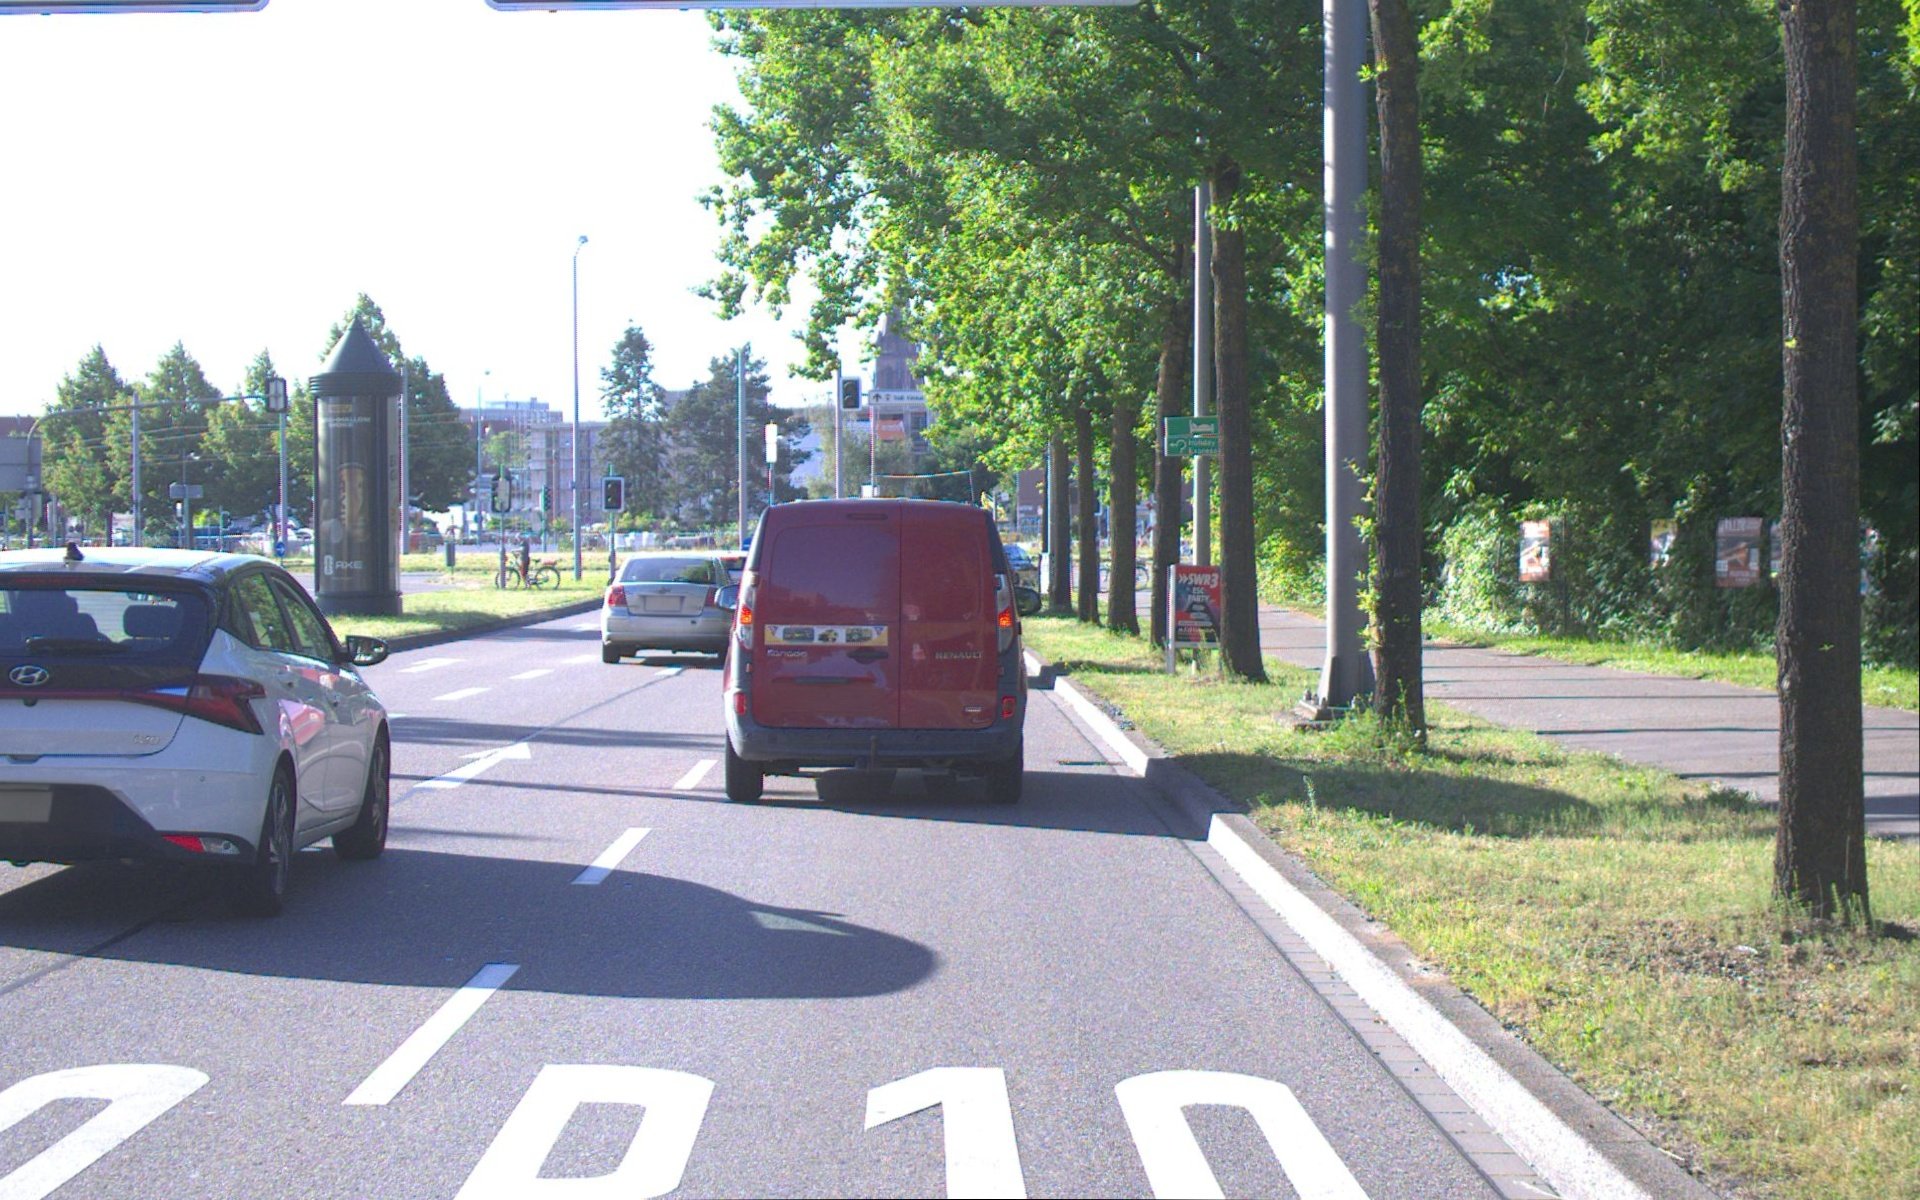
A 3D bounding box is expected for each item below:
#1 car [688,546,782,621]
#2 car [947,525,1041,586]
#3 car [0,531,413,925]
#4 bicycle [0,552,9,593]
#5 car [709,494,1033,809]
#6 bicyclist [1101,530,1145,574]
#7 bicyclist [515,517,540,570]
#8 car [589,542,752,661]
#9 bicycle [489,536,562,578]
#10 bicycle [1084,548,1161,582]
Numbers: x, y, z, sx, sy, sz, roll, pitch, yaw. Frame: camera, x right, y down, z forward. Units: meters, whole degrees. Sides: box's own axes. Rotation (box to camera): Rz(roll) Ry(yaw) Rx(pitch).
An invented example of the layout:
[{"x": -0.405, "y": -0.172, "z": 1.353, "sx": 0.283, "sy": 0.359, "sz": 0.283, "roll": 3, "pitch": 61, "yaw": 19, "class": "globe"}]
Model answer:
[{"x": -4.410, "y": -0.338, "z": 67.690, "sx": 1.661, "sy": 1.393, "sz": 3.559, "roll": 0, "pitch": 2, "yaw": -1, "class": "car"}, {"x": 0.970, "y": -1.235, "z": 95.363, "sx": 1.772, "sy": 1.619, "sz": 3.924, "roll": 1, "pitch": 1, "yaw": 13, "class": "car"}, {"x": -3.549, "y": 0.435, "z": 14.801, "sx": 1.778, "sy": 1.404, "sz": 4.075, "roll": 0, "pitch": 2, "yaw": -1, "class": "car"}, {"x": -27.183, "y": -0.758, "z": 94.836, "sx": 1.727, "sy": 1.103, "sz": 0.604, "roll": 0, "pitch": 1, "yaw": 12, "class": "bicycle"}, {"x": -0.537, "y": 0.238, "z": 21.436, "sx": 1.806, "sy": 1.753, "sz": 4.006, "roll": 1, "pitch": 2, "yaw": -1, "class": "car"}, {"x": 4.641, "y": -1.367, "z": 97.784, "sx": 0.968, "sy": 1.245, "sz": 0.789, "roll": -1, "pitch": 1, "yaw": -32, "class": "bicyclist"}, {"x": -11.977, "y": -1.566, "z": 95.212, "sx": 0.603, "sy": 1.463, "sz": 0.517, "roll": 0, "pitch": 1, "yaw": -2, "class": "bicyclist"}, {"x": -3.828, "y": -0.017, "z": 46.008, "sx": 1.841, "sy": 1.451, "sz": 4.163, "roll": 1, "pitch": 2, "yaw": 0, "class": "car"}, {"x": -12.037, "y": -1.194, "z": 95.220, "sx": 1.958, "sy": 1.162, "sz": 0.517, "roll": 0, "pitch": 1, "yaw": -2, "class": "bicycle"}, {"x": 4.614, "y": -1.006, "z": 97.765, "sx": 2.119, "sy": 0.955, "sz": 0.789, "roll": -1, "pitch": 1, "yaw": -32, "class": "bicycle"}]
